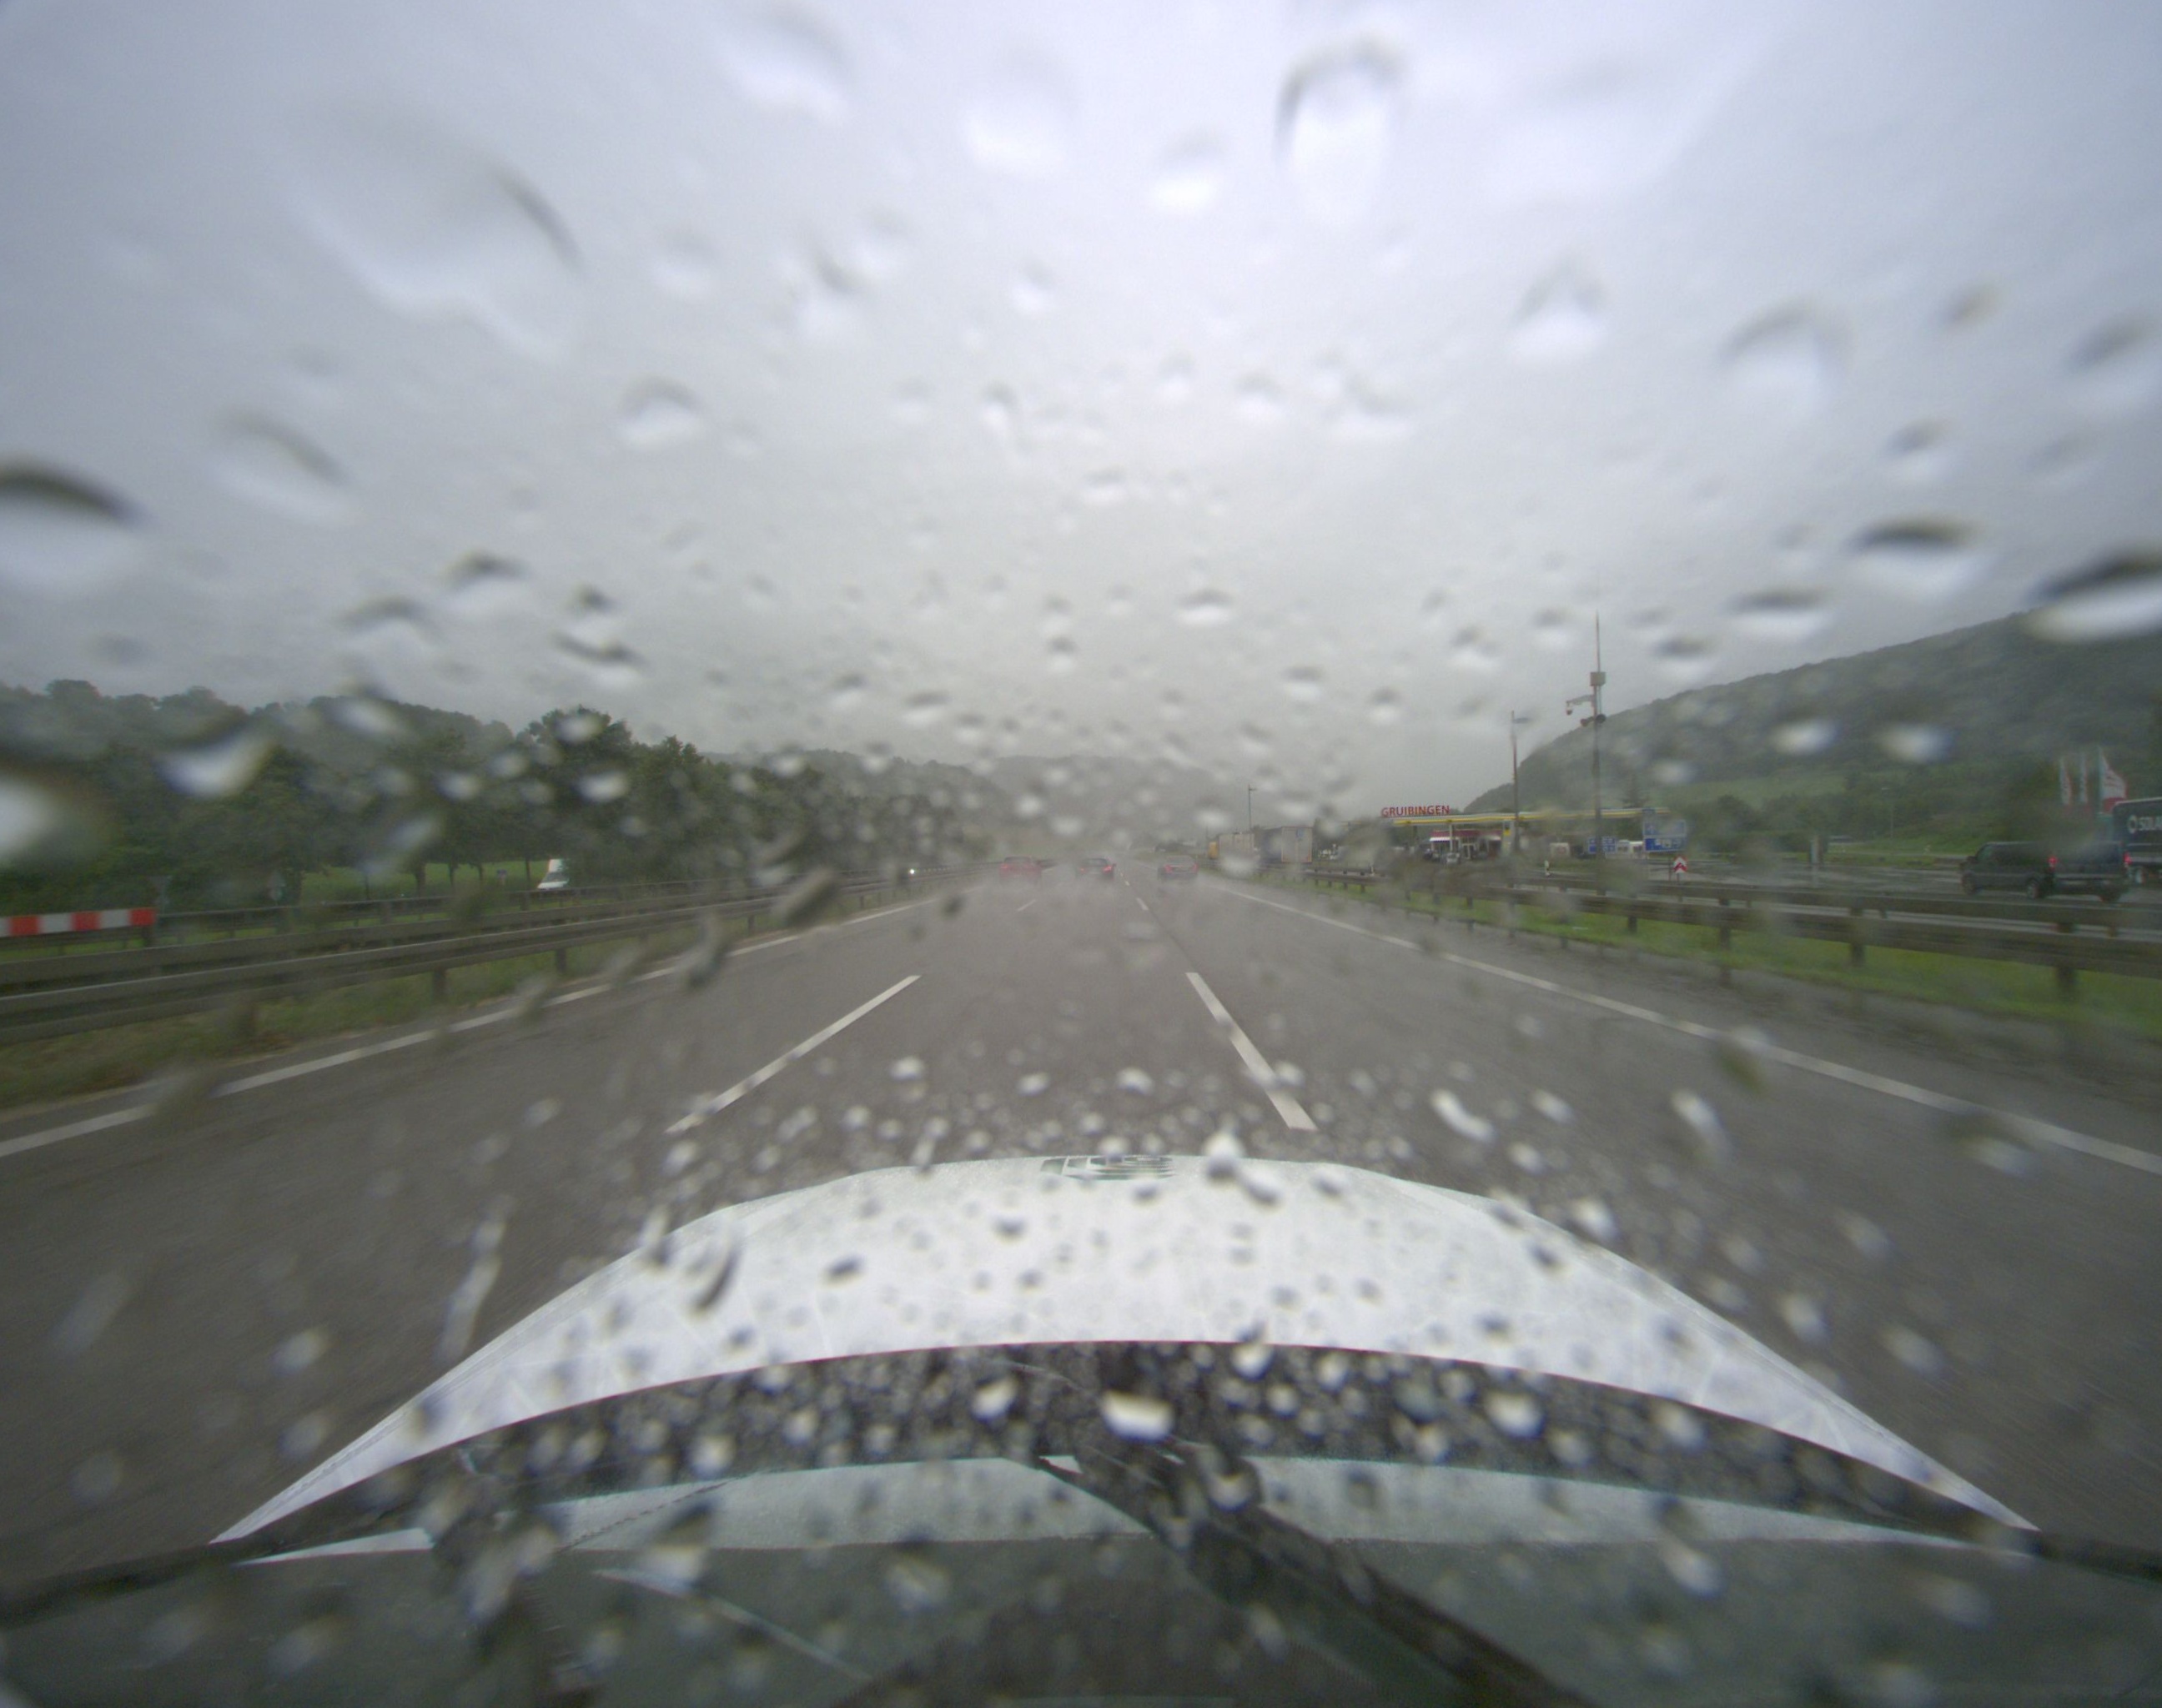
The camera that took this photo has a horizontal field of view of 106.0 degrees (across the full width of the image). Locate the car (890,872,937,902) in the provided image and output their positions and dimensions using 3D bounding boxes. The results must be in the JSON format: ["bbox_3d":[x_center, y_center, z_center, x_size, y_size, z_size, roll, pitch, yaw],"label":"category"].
[{"bbox_3d":[-14.099,2.721,68.908,2.617,2.228,5.999,-1,0,1],"label":"car"}]

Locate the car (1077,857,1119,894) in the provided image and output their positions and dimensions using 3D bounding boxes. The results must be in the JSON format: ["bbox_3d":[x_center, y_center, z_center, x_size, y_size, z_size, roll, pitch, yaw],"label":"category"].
[{"bbox_3d":[0.821,0.952,37.682,1.852,1.589,4.002,0,0,2],"label":"car"}]

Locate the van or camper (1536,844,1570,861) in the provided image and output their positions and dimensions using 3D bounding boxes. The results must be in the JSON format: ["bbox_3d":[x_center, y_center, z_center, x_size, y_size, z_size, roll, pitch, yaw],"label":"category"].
[{"bbox_3d":[58.841,-0.165,101.537,1.986,2.014,4.001,0,0,1],"label":"van or camper"}]

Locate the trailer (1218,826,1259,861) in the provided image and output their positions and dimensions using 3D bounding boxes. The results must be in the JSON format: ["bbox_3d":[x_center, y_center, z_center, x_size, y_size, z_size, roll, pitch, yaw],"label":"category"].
[{"bbox_3d":[19.844,-1.234,103.617,3.502,4.261,11.929,0,0,3],"label":"trailer"}]

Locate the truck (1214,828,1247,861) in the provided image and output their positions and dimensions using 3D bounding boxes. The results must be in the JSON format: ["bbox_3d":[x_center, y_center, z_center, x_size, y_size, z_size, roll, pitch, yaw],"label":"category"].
[{"bbox_3d":[20.243,-1.222,110.471,3.512,4.220,7.824,0,0,4],"label":"truck"}]

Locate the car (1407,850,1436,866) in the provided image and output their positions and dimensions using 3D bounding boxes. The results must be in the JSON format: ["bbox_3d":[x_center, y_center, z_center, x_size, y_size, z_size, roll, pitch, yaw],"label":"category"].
[{"bbox_3d":[45.968,0.545,110.005,1.986,2.014,4.903,0,0,2],"label":"car"}]

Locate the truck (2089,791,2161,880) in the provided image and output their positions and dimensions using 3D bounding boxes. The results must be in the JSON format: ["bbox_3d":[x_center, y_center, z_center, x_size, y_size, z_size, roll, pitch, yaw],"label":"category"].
[{"bbox_3d":[49.655,-0.784,37.076,2.721,3.867,7.582,0,-1,35],"label":"truck"}]

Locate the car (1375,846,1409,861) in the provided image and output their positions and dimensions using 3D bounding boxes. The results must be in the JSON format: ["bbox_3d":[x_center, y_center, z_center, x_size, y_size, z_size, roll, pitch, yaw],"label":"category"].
[{"bbox_3d":[49.526,-0.055,129.749,2.001,2.308,5.414,0,0,-21],"label":"car"}]

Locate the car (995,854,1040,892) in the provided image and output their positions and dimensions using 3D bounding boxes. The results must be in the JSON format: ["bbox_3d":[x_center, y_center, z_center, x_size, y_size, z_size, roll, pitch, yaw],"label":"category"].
[{"bbox_3d":[-3.208,0.943,41.905,1.878,1.816,4.001,-1,0,1],"label":"car"}]

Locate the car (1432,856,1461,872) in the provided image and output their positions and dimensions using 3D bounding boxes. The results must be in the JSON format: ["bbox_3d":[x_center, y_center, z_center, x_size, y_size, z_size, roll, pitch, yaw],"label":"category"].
[{"bbox_3d":[45.987,1.281,102.559,1.953,2.014,4.002,0,0,2],"label":"car"}]

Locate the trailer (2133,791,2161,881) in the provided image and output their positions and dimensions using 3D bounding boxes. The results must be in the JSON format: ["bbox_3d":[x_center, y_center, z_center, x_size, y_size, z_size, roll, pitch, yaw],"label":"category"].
[{"bbox_3d":[45.660,-0.787,31.411,2.757,3.900,11.825,0,-1,35],"label":"trailer"}]

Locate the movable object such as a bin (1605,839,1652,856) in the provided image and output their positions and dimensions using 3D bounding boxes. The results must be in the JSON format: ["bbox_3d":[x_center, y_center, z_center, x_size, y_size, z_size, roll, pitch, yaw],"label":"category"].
[{"bbox_3d":[65.845,-0.736,98.082,2.158,2.014,5.384,0,0,1],"label":"movable object such as a bin"}]

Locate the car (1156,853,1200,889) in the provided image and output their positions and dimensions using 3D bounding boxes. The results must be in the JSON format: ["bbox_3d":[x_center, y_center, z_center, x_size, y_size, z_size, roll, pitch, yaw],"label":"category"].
[{"bbox_3d":[5.054,0.847,42.682,1.964,1.760,4.002,-1,0,2],"label":"car"}]

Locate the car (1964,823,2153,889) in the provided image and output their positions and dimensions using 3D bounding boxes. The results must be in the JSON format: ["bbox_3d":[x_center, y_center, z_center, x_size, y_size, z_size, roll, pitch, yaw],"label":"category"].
[{"bbox_3d":[32.501,0.060,27.344,1.976,2.013,5.083,-1,0,23],"label":"car"}]

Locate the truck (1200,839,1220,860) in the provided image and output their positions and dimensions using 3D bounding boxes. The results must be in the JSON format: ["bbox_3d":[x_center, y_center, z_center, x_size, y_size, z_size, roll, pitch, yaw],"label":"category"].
[{"bbox_3d":[19.908,-0.629,126.465,2.281,3.147,8.872,0,0,4],"label":"truck"}]

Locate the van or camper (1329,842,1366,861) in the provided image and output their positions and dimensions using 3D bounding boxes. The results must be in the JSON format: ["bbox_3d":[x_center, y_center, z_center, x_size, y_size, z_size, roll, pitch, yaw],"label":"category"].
[{"bbox_3d":[45.112,-0.366,138.038,2.007,3.059,6.110,0,-1,-32],"label":"van or camper"}]

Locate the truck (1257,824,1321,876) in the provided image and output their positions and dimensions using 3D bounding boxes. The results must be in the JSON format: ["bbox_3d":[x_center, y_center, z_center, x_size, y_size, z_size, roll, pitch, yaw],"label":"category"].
[{"bbox_3d":[18.575,-0.346,73.642,3.388,4.402,11.055,0,0,2],"label":"truck"}]
